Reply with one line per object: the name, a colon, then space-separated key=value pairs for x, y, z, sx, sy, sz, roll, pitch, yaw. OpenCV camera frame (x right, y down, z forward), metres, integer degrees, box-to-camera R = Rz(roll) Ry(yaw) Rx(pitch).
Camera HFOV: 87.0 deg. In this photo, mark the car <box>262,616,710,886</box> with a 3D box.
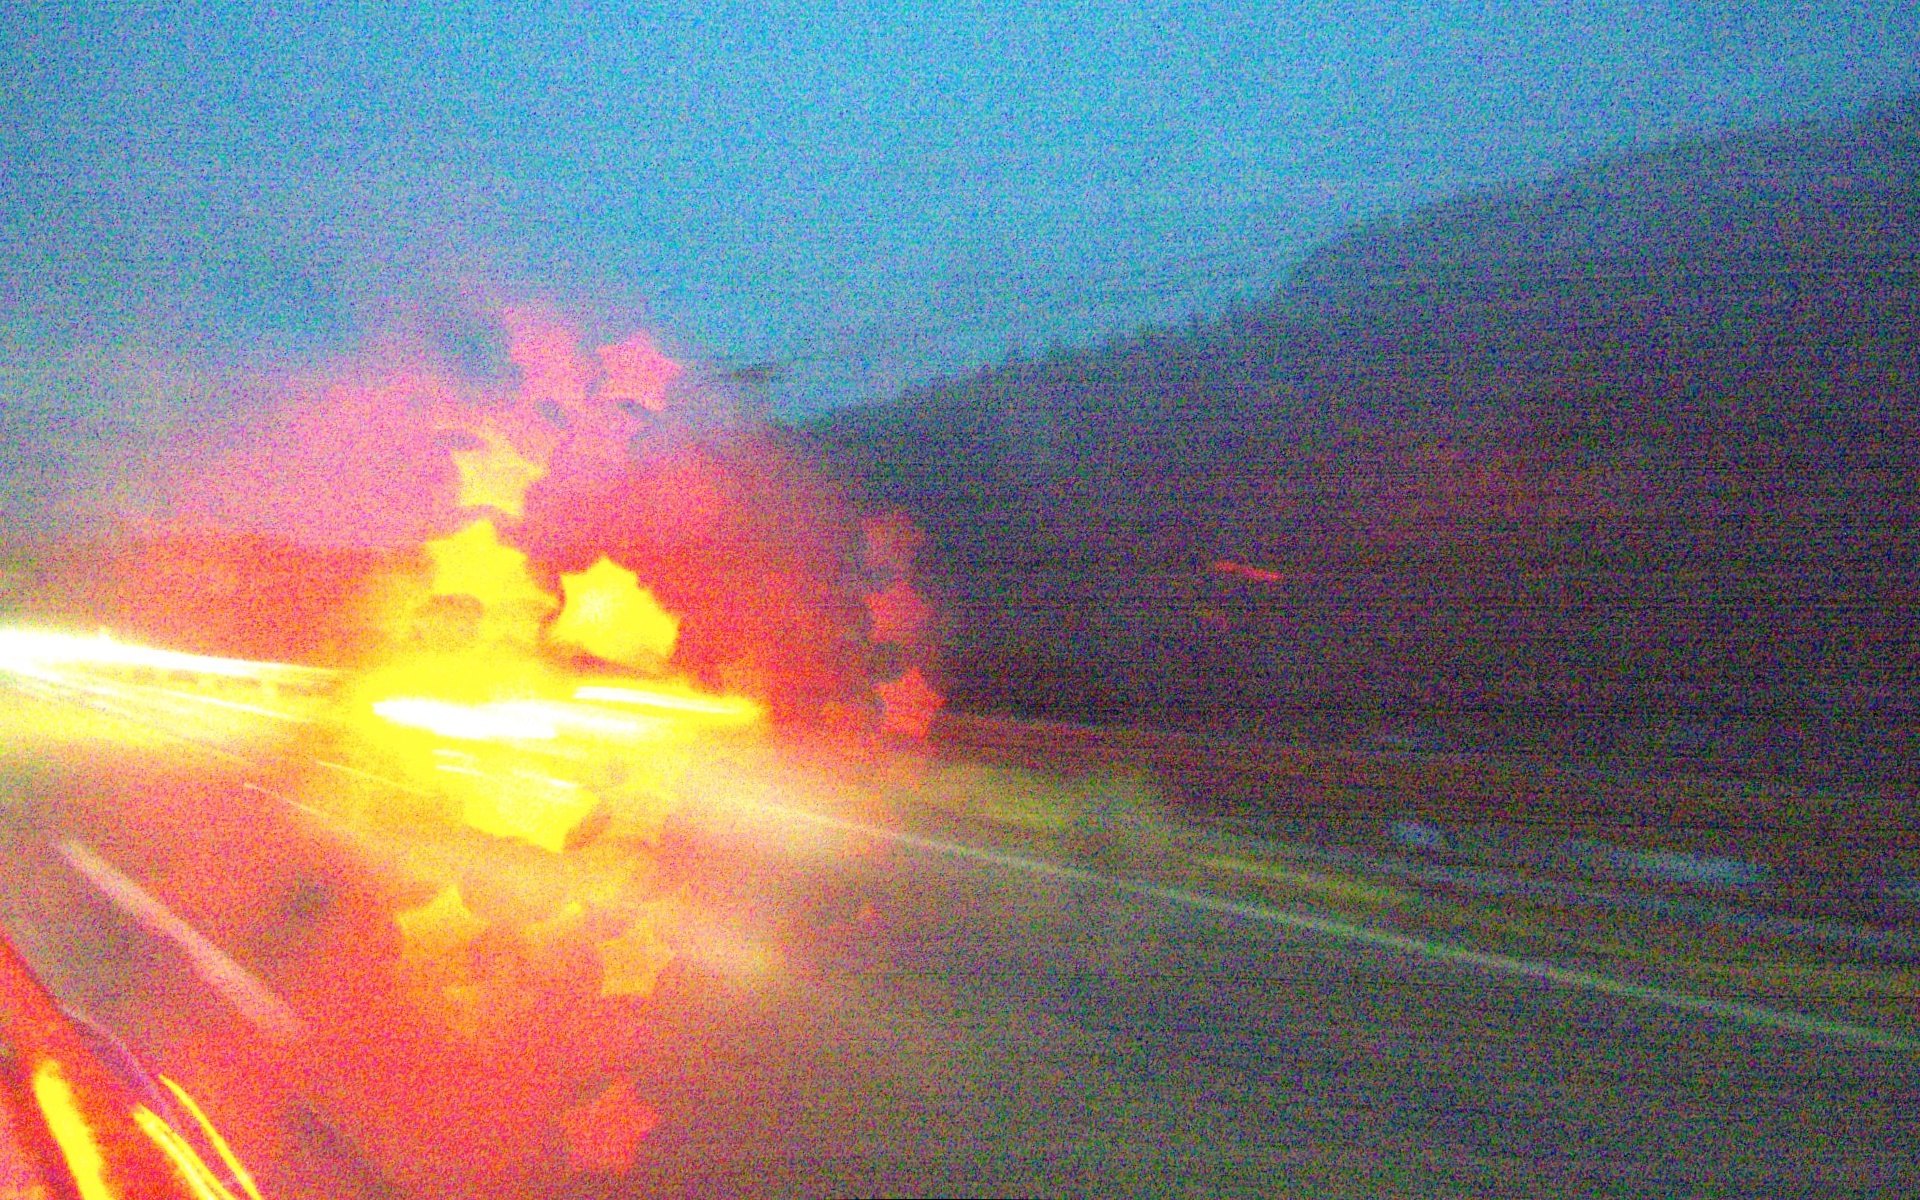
car: x=-3.489 y=0.832 z=7.170 sx=3.583 sy=1.396 sz=1.564 roll=-1 pitch=0 yaw=41
